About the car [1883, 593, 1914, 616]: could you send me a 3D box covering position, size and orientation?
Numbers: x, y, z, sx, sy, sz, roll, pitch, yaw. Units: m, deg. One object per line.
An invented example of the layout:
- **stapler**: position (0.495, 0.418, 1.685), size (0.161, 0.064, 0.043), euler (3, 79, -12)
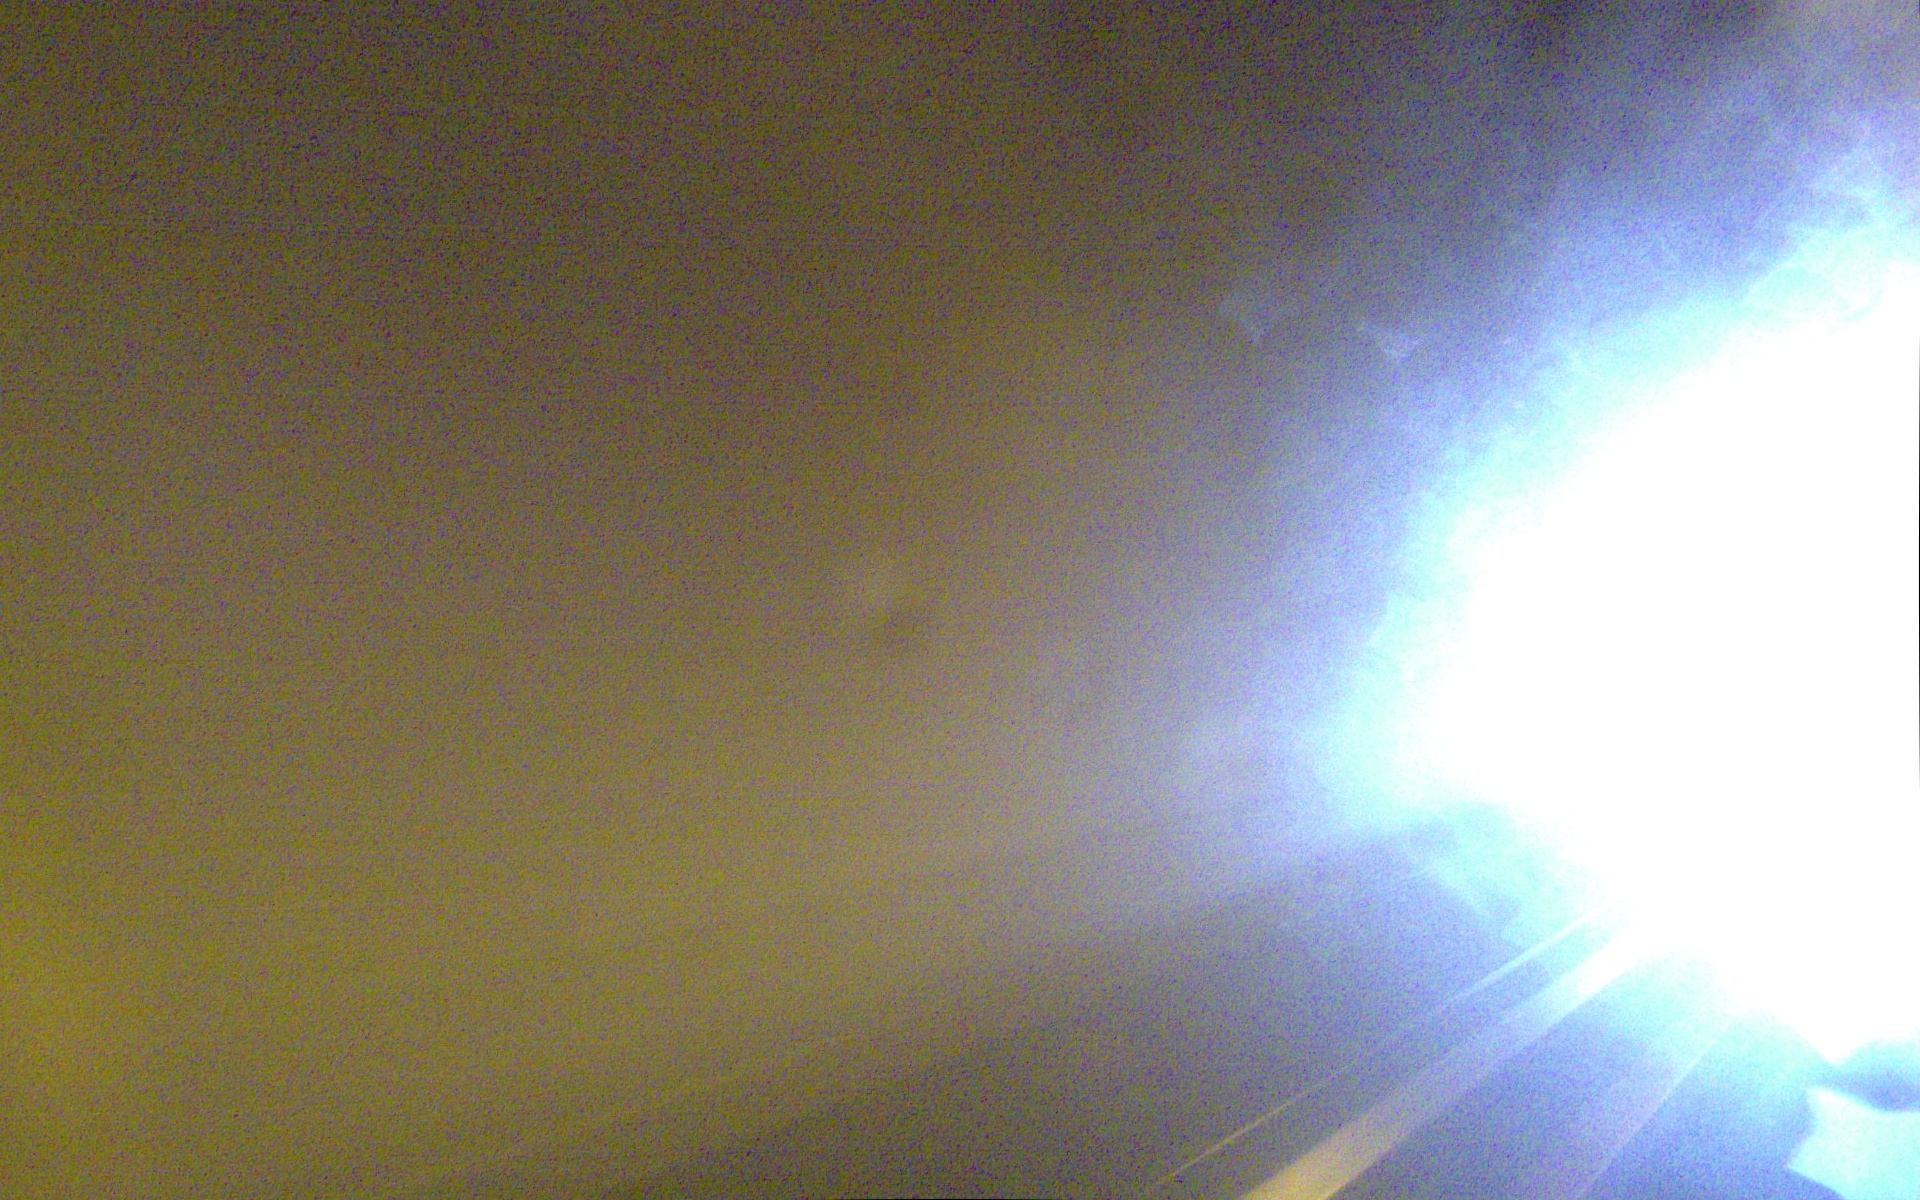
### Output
- **car**: position (77.512, 0.350, 83.627), size (1.702, 1.794, 3.941), euler (1, 1, 41)
